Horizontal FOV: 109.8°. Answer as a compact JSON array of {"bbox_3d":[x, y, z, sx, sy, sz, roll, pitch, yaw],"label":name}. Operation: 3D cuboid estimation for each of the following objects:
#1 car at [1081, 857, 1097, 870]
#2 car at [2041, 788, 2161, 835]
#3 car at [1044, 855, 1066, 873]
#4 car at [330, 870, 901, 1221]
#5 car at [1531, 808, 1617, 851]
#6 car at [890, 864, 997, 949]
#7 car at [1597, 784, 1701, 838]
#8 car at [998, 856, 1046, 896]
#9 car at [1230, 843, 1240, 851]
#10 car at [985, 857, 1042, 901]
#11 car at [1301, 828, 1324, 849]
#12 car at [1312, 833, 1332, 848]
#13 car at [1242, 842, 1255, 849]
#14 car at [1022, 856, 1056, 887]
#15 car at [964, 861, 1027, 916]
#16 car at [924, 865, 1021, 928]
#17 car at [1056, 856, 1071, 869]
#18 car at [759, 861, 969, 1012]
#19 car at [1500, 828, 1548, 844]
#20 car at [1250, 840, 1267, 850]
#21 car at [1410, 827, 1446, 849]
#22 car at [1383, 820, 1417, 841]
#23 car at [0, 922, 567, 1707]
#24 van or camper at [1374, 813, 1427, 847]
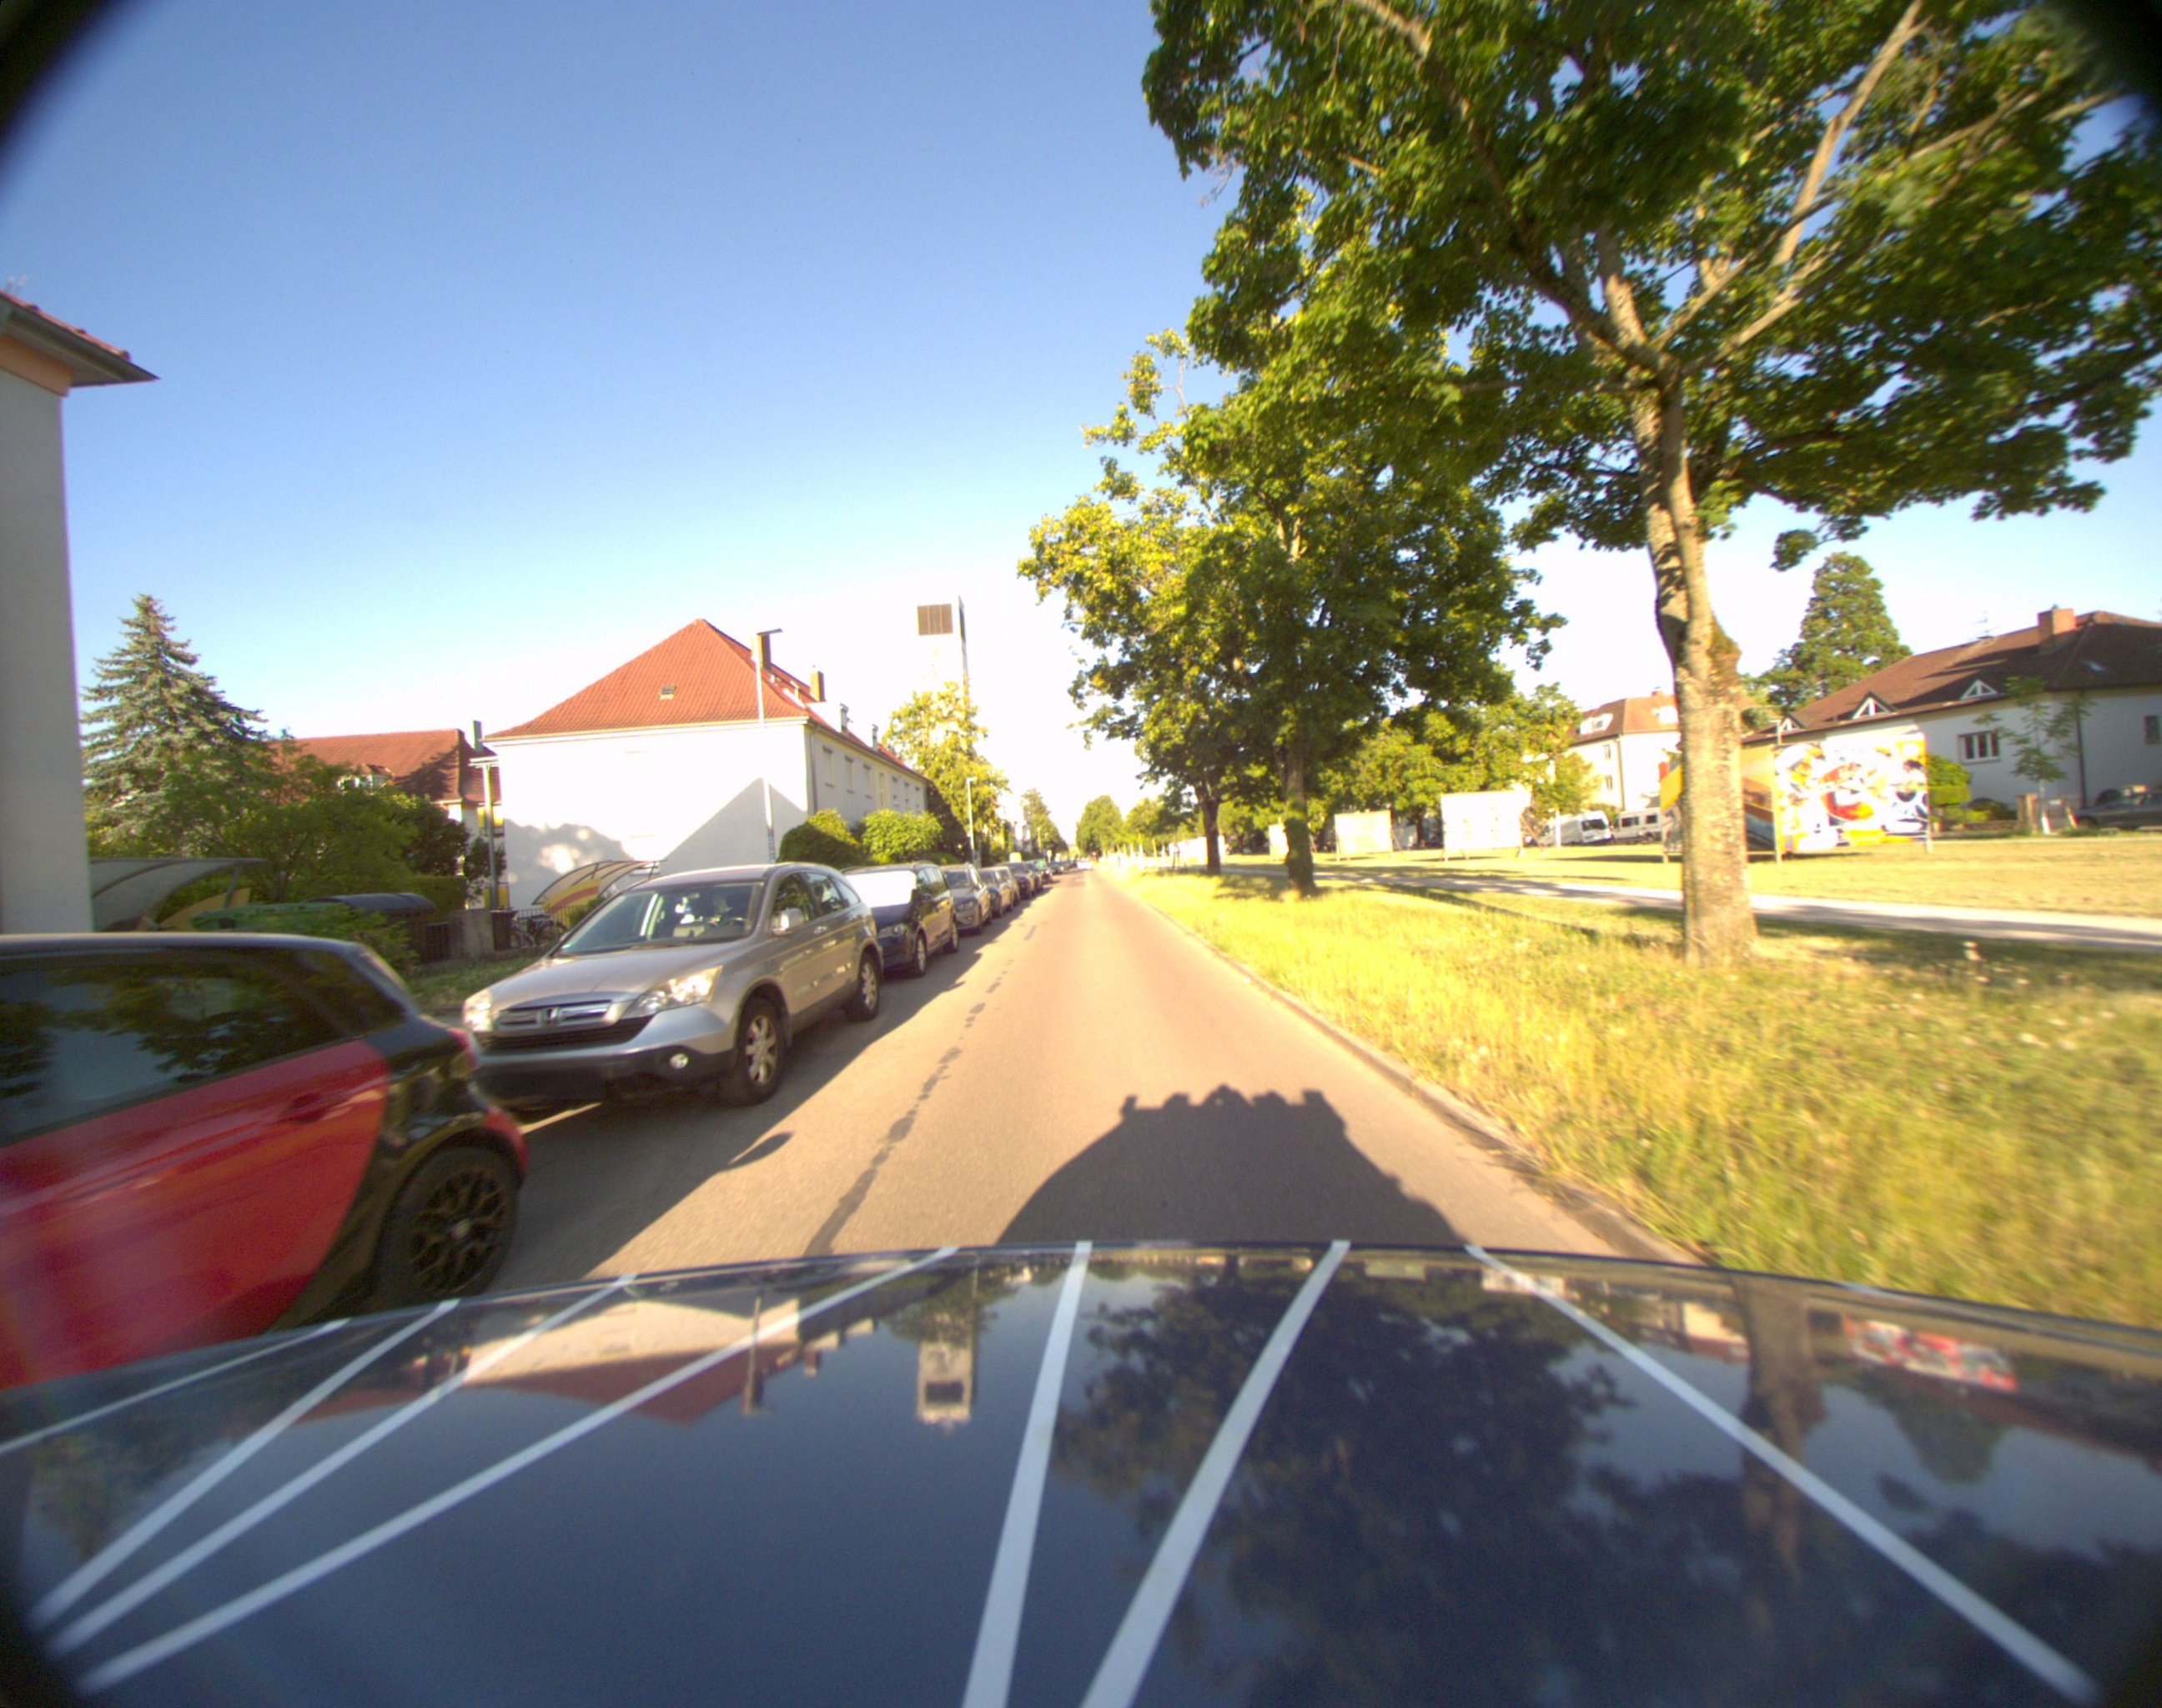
[{"bbox_3d":[1.022,1.239,102.002,1.999,1.483,4.000,-4,0,0],"label":"car"},{"bbox_3d":[39.904,-1.567,28.521,1.786,1.693,4.666,0,1,0],"label":"car"},{"bbox_3d":[-2.632,1.044,78.984,1.827,1.552,4.622,-10,0,1],"label":"car"},{"bbox_3d":[-3.024,1.067,6.407,1.781,1.633,4.756,-4,0,0],"label":"car"},{"bbox_3d":[34.118,-1.642,52.844,2.266,2.810,5.870,0,1,1],"label":"car"},{"bbox_3d":[-3.030,1.081,17.578,1.729,1.552,4.416,-4,0,-2],"label":"car"},{"bbox_3d":[39.880,-2.899,53.665,2.309,3.539,6.764,0,1,1],"label":"car"},{"bbox_3d":[-2.940,1.085,38.905,1.938,1.710,4.621,-6,0,0],"label":"car"},{"bbox_3d":[35.009,-1.580,173.169,1.894,1.513,3.682,-3,-1,6],"label":"car"},{"bbox_3d":[-2.873,1.027,33.216,1.859,1.647,4.820,-5,0,1],"label":"car"},{"bbox_3d":[40.323,-2.644,132.629,1.998,3.230,6.075,-3,-1,0],"label":"car"},{"bbox_3d":[39.998,-2.235,126.173,1.998,2.141,4.000,-4,0,1],"label":"car"},{"bbox_3d":[40.773,-2.020,185.429,1.999,1.490,3.999,-3,-1,-4],"label":"car"},{"bbox_3d":[-2.723,1.100,50.295,1.837,1.722,5.031,-6,1,0],"label":"car"},{"bbox_3d":[-3.048,1.185,27.777,1.732,1.539,4.207,-8,1,-2],"label":"car"},{"bbox_3d":[-3.124,1.182,22.829,1.998,1.453,4.562,-5,0,2],"label":"car"},{"bbox_3d":[-2.566,1.259,111.093,1.999,1.588,4.885,-8,1,-1],"label":"car"},{"bbox_3d":[-3.045,1.051,11.843,1.770,1.625,4.763,-5,1,0],"label":"car"},{"bbox_3d":[40.372,-1.613,69.380,1.998,1.395,4.562,0,1,4],"label":"car"},{"bbox_3d":[34.745,-1.701,148.816,1.999,1.718,4.345,-3,-1,-1],"label":"car"},{"bbox_3d":[40.370,-1.861,88.535,1.942,2.405,5.116,0,1,1],"label":"car"},{"bbox_3d":[34.210,-2.533,81.596,1.998,2.002,4.000,-4,0,1],"label":"car"},{"bbox_3d":[-3.162,1.084,1.469,1.734,1.517,3.734,-2,0,0],"label":"car"},{"bbox_3d":[34.210,-2.533,81.596,2.648,3.243,6.905,-4,0,1],"label":"van or camper"}]
